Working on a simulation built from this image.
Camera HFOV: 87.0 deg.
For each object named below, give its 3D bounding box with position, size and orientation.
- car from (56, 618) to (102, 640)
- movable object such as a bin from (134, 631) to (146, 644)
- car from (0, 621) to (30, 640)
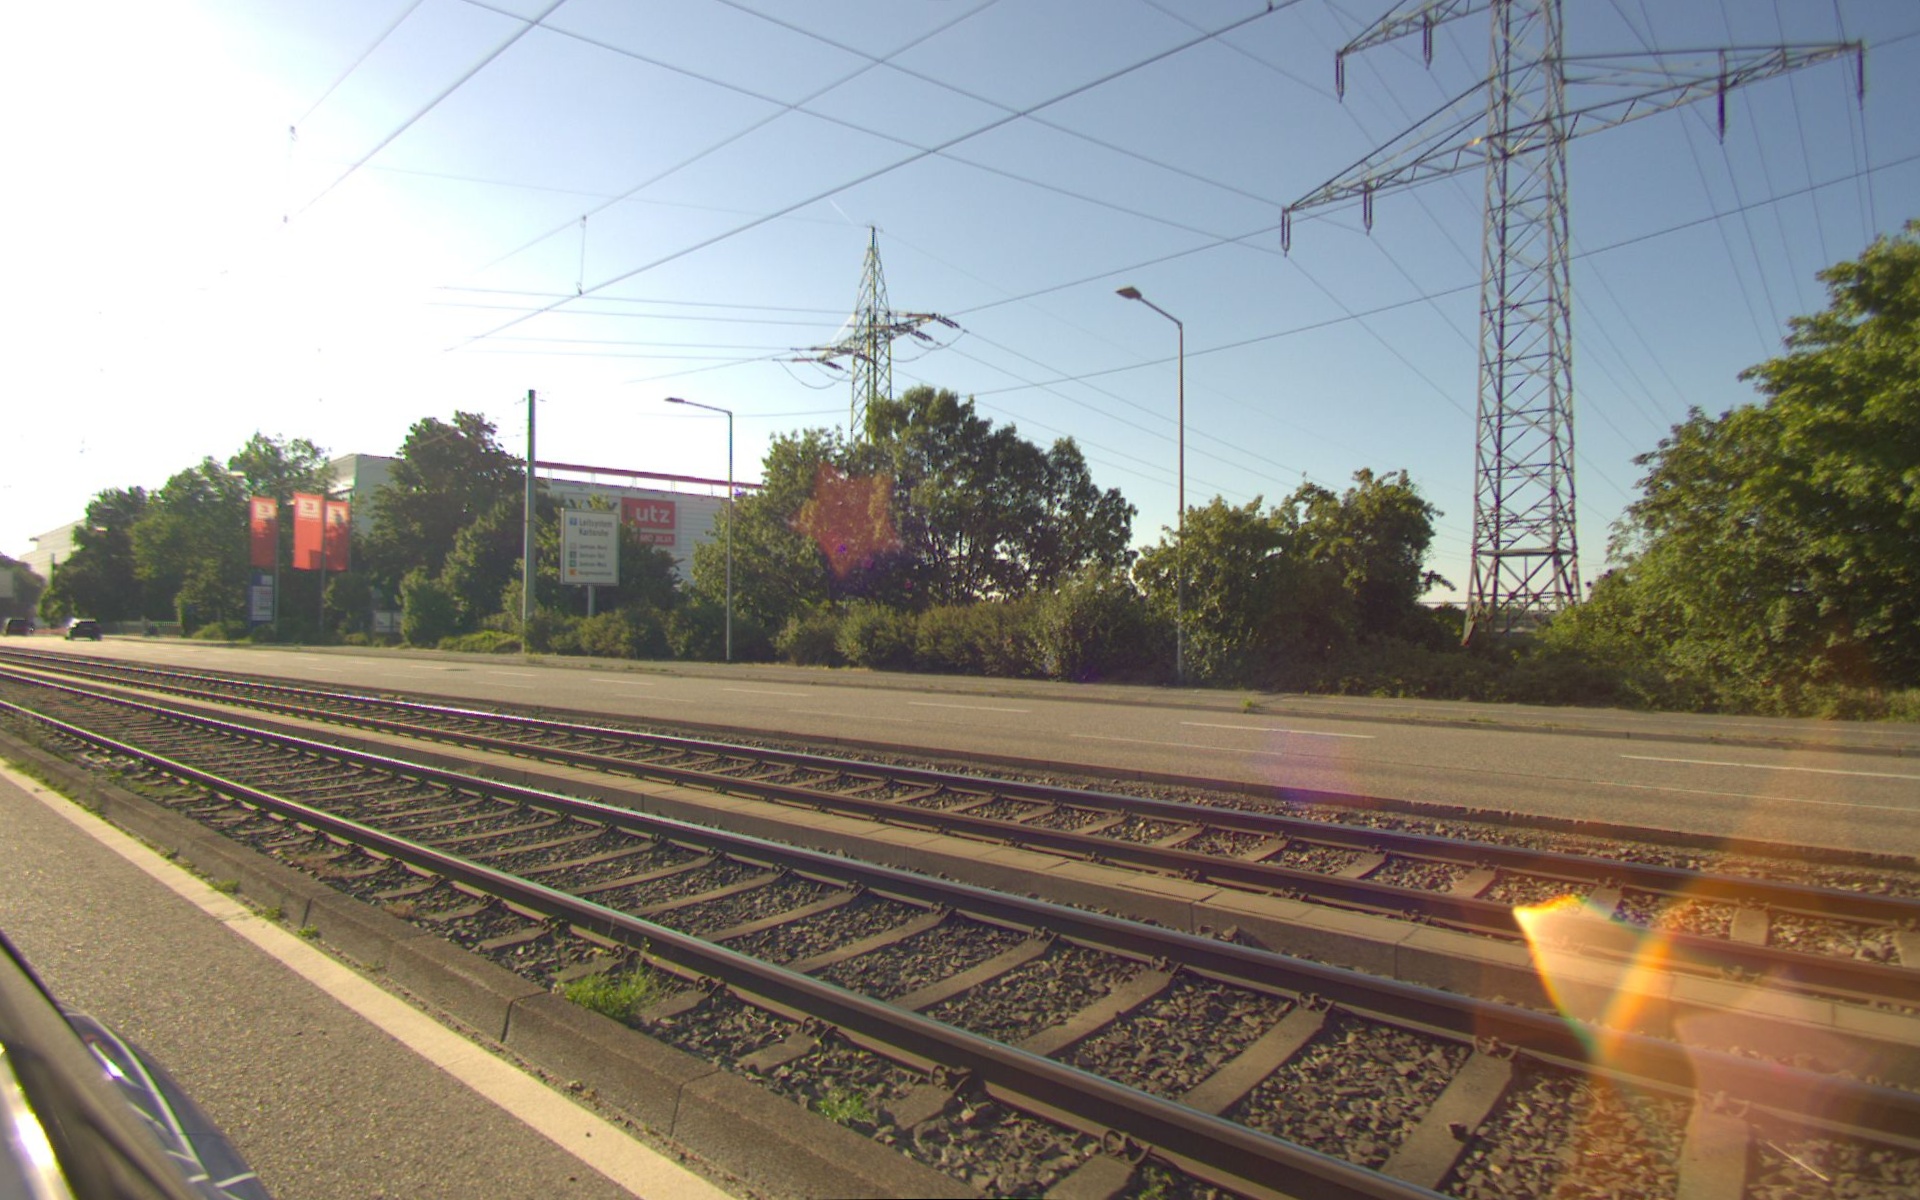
[{"bbox_3d":[-68.667,2.279,78.854,4.680,1.637,1.973,-1,-2,40],"label":"car"},{"bbox_3d":[-66.716,3.043,82.342,1.083,0.973,0.606,-1,1,40],"label":"movable object such as a bin"},{"bbox_3d":[-96.215,3.071,102.869,4.347,1.809,1.973,-1,-2,40],"label":"car"}]
